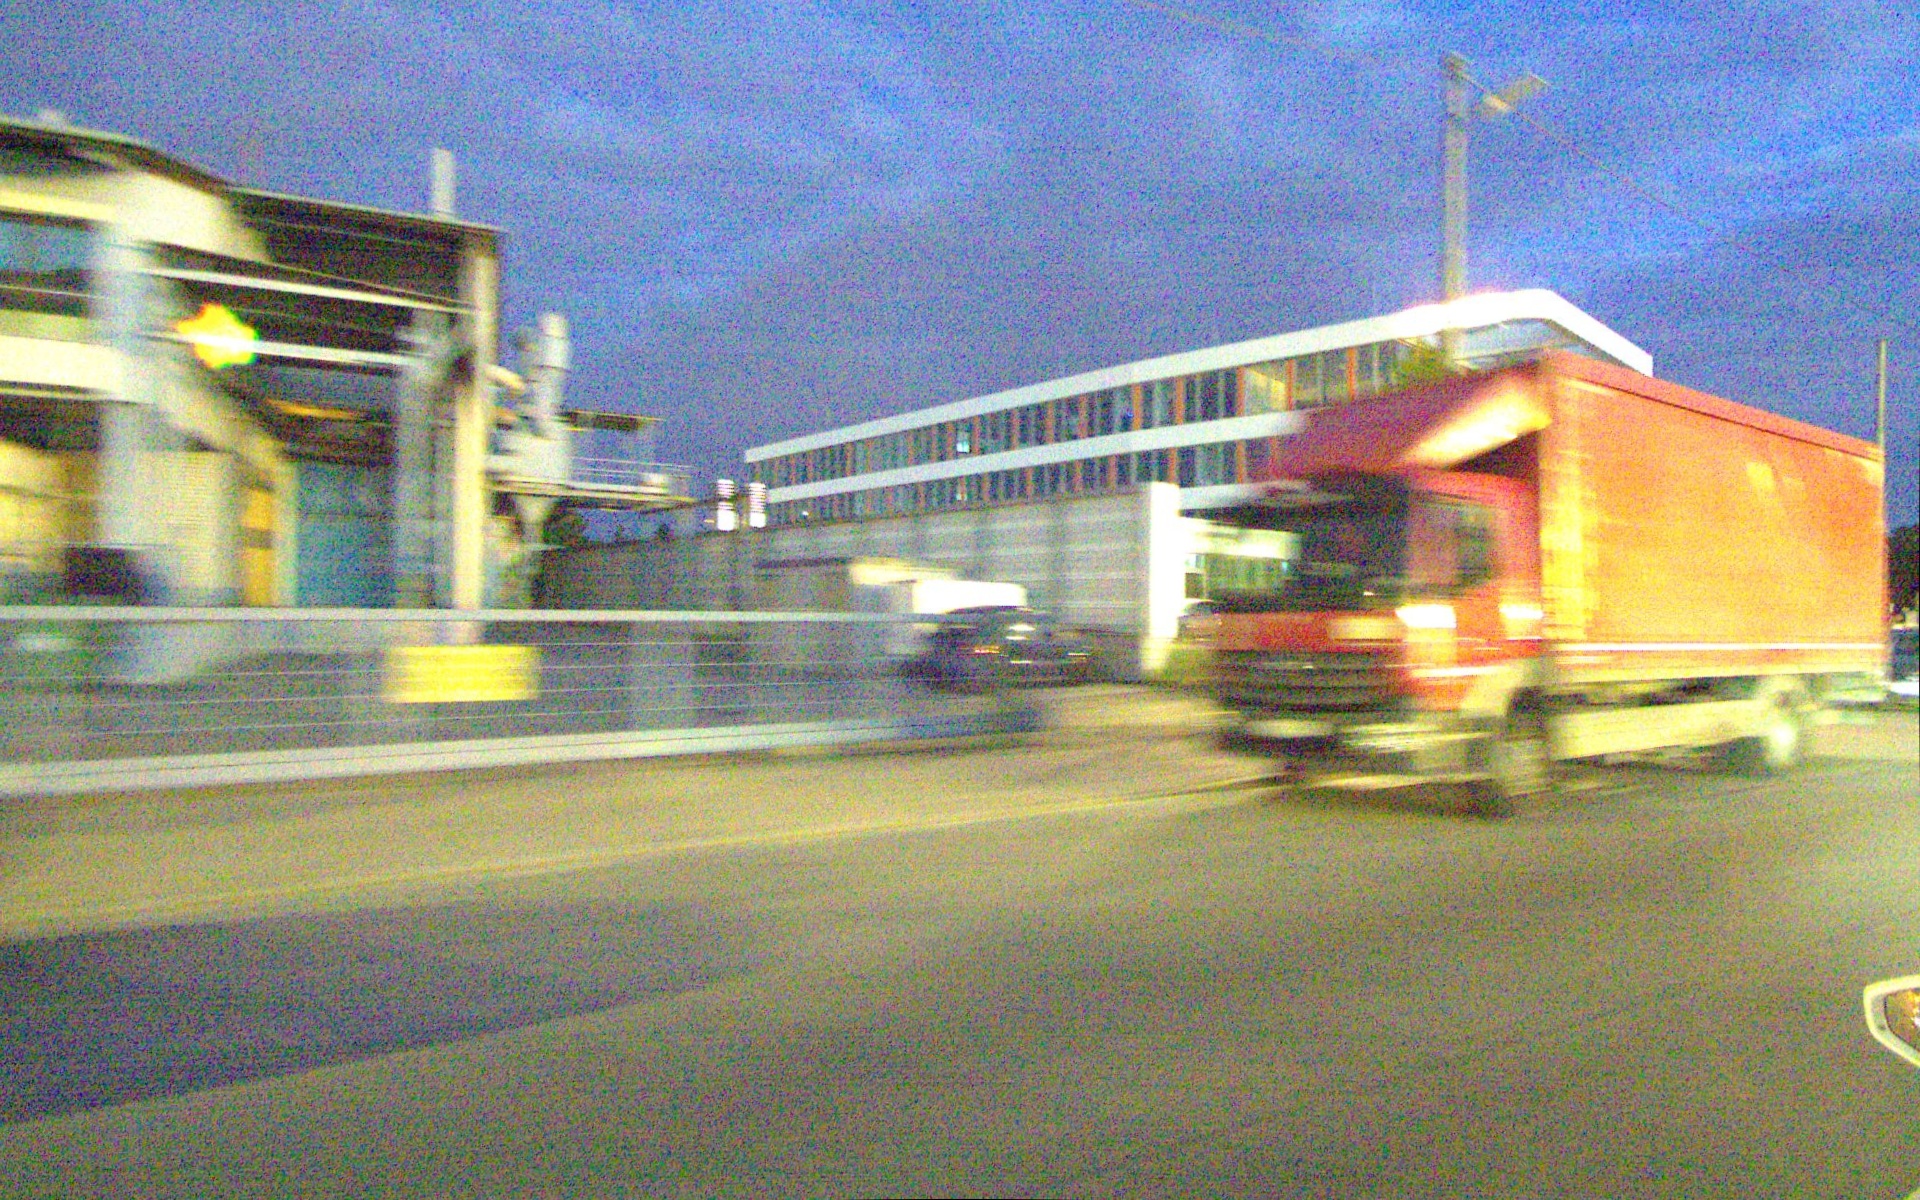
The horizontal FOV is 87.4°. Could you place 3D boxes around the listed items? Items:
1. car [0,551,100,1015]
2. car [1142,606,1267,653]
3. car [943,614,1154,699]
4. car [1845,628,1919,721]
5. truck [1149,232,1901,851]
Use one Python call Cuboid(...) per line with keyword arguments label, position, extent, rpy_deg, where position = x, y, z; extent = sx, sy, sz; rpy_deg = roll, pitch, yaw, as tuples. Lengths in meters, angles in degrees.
Cuboid(label="car", position=(-5.933, 0.632, 2.713), extent=(5.135, 1.740, 1.935), rpy_deg=(2, -1, -29))
Cuboid(label="car", position=(8.386, 0.998, 34.286), extent=(4.428, 1.476, 1.886), rpy_deg=(2, 0, -40))
Cuboid(label="car", position=(1.620, 1.019, 19.548), extent=(1.849, 1.443, 3.989), rpy_deg=(2, -1, -39))
Cuboid(label="car", position=(18.569, 1.371, 19.001), extent=(4.451, 1.614, 1.853), rpy_deg=(2, -1, -36))
Cuboid(label="truck", position=(6.355, -0.275, 10.415), extent=(9.238, 4.175, 2.757), rpy_deg=(2, -1, -32))
